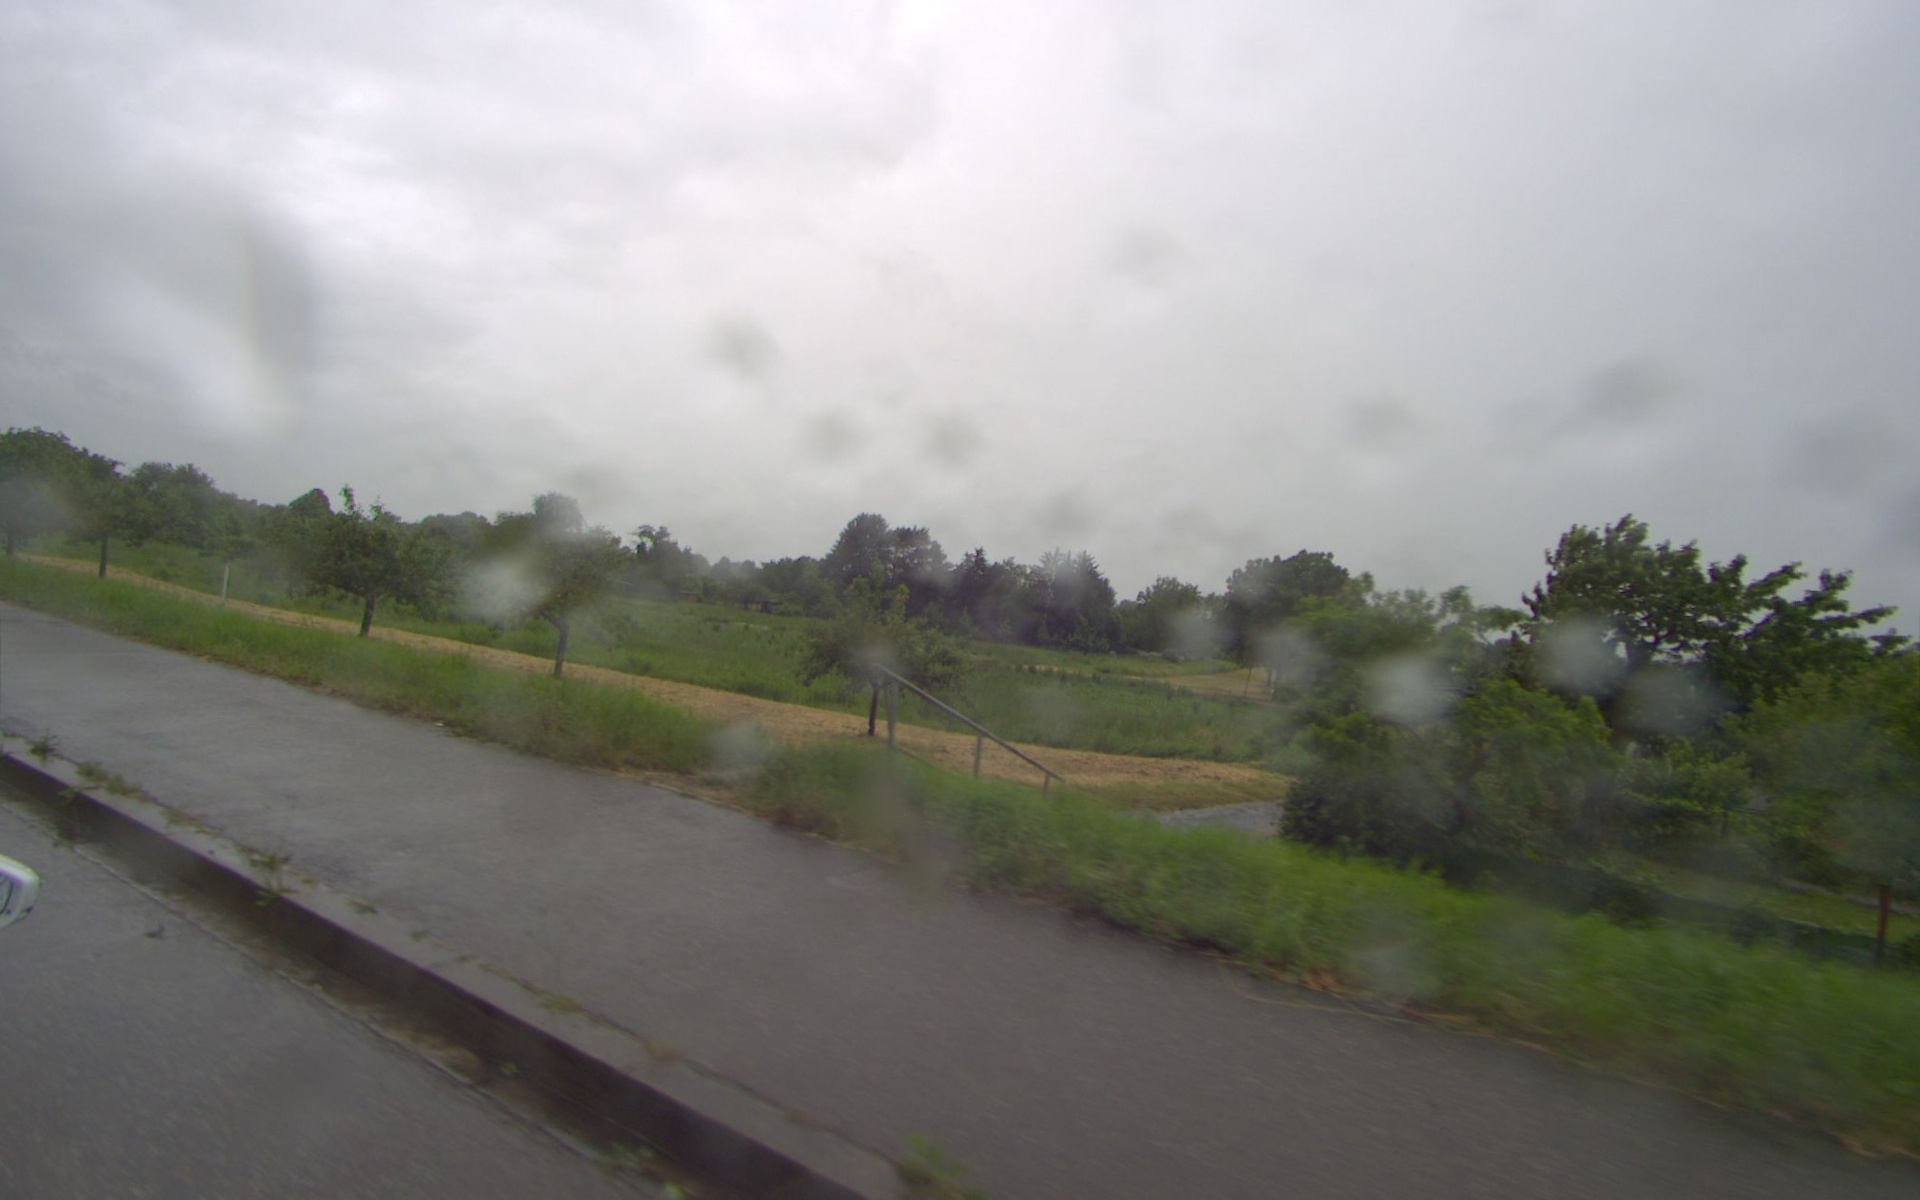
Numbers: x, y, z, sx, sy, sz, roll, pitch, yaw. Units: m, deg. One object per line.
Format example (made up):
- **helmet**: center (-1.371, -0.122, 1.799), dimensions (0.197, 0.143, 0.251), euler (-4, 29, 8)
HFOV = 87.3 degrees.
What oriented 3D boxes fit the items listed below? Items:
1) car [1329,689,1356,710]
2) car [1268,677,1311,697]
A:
- **car**: center (33.556, 8.692, 88.184), dimensions (1.768, 1.528, 3.999), euler (6, -2, 25)
- **car**: center (34.954, 9.219, 106.930), dimensions (4.086, 1.528, 1.802), euler (7, -2, 14)
